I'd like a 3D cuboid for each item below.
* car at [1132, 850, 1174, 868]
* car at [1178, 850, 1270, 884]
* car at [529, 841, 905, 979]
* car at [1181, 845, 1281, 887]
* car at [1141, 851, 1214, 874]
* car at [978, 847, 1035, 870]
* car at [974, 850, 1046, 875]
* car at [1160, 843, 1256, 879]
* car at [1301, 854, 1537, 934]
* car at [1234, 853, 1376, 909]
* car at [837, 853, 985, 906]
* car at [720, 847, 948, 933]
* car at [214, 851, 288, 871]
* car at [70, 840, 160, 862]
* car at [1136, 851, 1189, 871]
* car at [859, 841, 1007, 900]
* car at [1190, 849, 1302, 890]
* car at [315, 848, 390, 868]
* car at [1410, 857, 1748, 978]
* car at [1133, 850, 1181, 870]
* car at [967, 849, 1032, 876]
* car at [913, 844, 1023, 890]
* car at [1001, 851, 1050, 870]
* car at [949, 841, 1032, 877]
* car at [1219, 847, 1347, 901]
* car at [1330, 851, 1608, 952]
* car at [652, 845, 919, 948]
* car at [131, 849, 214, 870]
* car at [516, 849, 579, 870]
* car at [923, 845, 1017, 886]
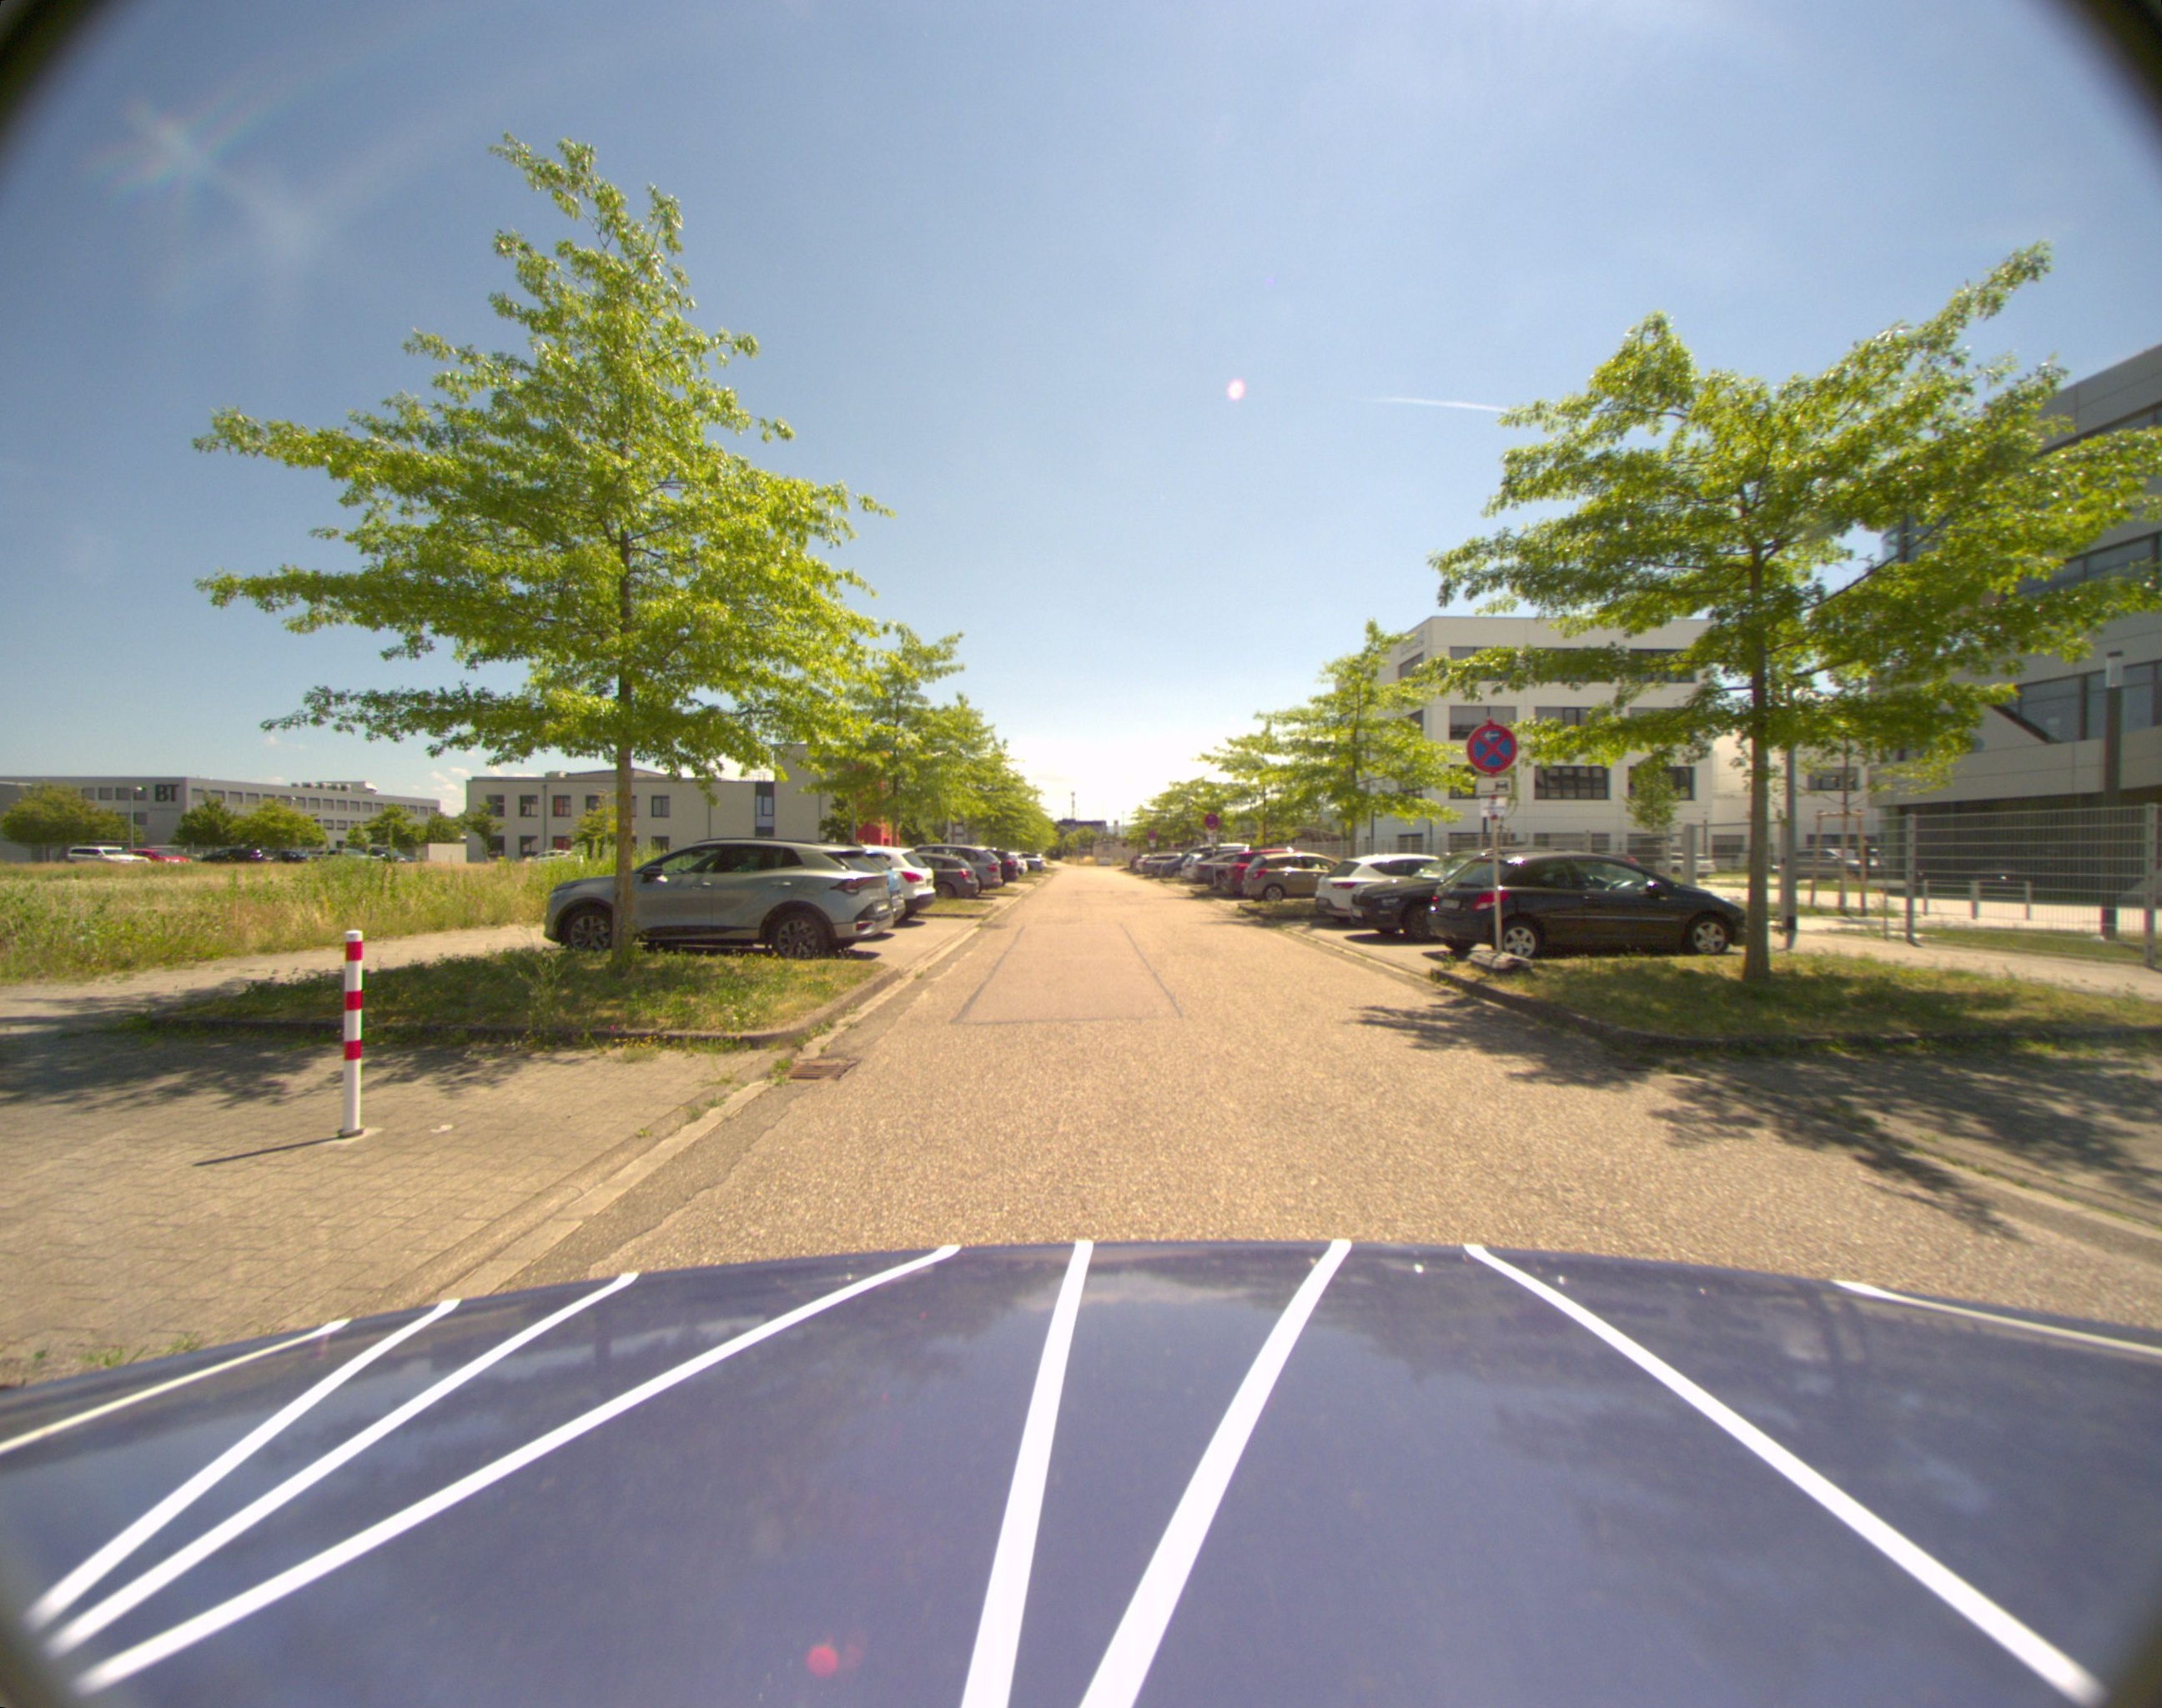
[{"bbox_3d":[6.825,0.492,72.531,3.915,1.582,1.728,-2,0,3],"label":"car"},{"bbox_3d":[6.826,0.596,36.506,4.048,1.452,1.604,-2,1,-3],"label":"car"},{"bbox_3d":[-4.820,0.703,10.533,4.290,1.634,1.850,1,1,0],"label":"car"},{"bbox_3d":[6.707,0.514,34.198,3.999,1.669,1.776,-2,1,-5],"label":"car"},{"bbox_3d":[6.581,0.575,52.190,4.725,1.439,1.857,-2,0,-1],"label":"car"},{"bbox_3d":[-5.519,0.318,56.801,4.057,1.615,1.693,2,0,0],"label":"car"},{"bbox_3d":[-4.786,0.557,51.605,4.730,1.552,1.913,2,0,-4],"label":"car"},{"bbox_3d":[7.057,0.390,42.587,5.082,1.881,1.997,-1,0,1],"label":"car"},{"bbox_3d":[6.948,0.791,15.908,4.087,1.416,1.873,-2,1,-4],"label":"car"},{"bbox_3d":[6.629,0.777,22.681,3.667,1.500,1.730,-2,1,-4],"label":"car"},{"bbox_3d":[-4.926,0.722,22.403,3.933,1.402,1.908,1,2,0],"label":"car"},{"bbox_3d":[-4.978,0.697,15.749,4.079,1.598,1.901,1,1,0],"label":"car"},{"bbox_3d":[-66.095,0.557,60.560,3.997,1.501,1.719,1,0,0],"label":"car"},{"bbox_3d":[-66.582,-0.191,52.428,3.997,1.444,1.719,1,0,0],"label":"car"},{"bbox_3d":[6.780,0.557,63.350,4.182,1.504,1.807,-2,-1,1],"label":"car"},{"bbox_3d":[-4.770,0.536,24.991,4.461,1.758,1.992,1,0,-2],"label":"car"},{"bbox_3d":[6.748,0.626,31.395,4.204,1.471,1.712,-2,1,0],"label":"car"},{"bbox_3d":[-55.475,0.314,57.925,3.997,1.501,1.719,1,0,-1],"label":"car"},{"bbox_3d":[6.849,0.833,10.730,3.635,1.427,1.726,-2,1,-1],"label":"car"},{"bbox_3d":[6.576,0.483,65.956,3.849,1.582,1.727,-2,0,-2],"label":"car"},{"bbox_3d":[-4.814,0.493,45.253,3.640,1.494,1.676,2,1,1],"label":"car"},{"bbox_3d":[-4.560,0.511,31.057,4.184,1.686,1.782,2,1,-1],"label":"car"},{"bbox_3d":[-4.605,0.527,63.784,3.842,1.544,1.780,1,0,5],"label":"car"},{"bbox_3d":[-5.029,0.268,42.696,4.414,1.819,1.795,2,1,1],"label":"car"},{"bbox_3d":[6.624,0.643,25.236,3.747,1.612,1.816,-2,1,0],"label":"car"},{"bbox_3d":[6.657,0.771,13.330,3.937,1.512,1.784,-2,1,-1],"label":"car"},{"bbox_3d":[-5.064,0.699,13.440,3.997,1.634,1.838,1,1,-1],"label":"car"},{"bbox_3d":[-65.938,0.387,55.187,3.997,1.501,1.719,1,0,0],"label":"car"},{"bbox_3d":[-38.443,0.380,54.830,3.331,1.501,1.719,1,0,0],"label":"car"},{"bbox_3d":[-4.905,0.503,33.891,3.885,1.668,1.782,2,1,0],"label":"car"}]
